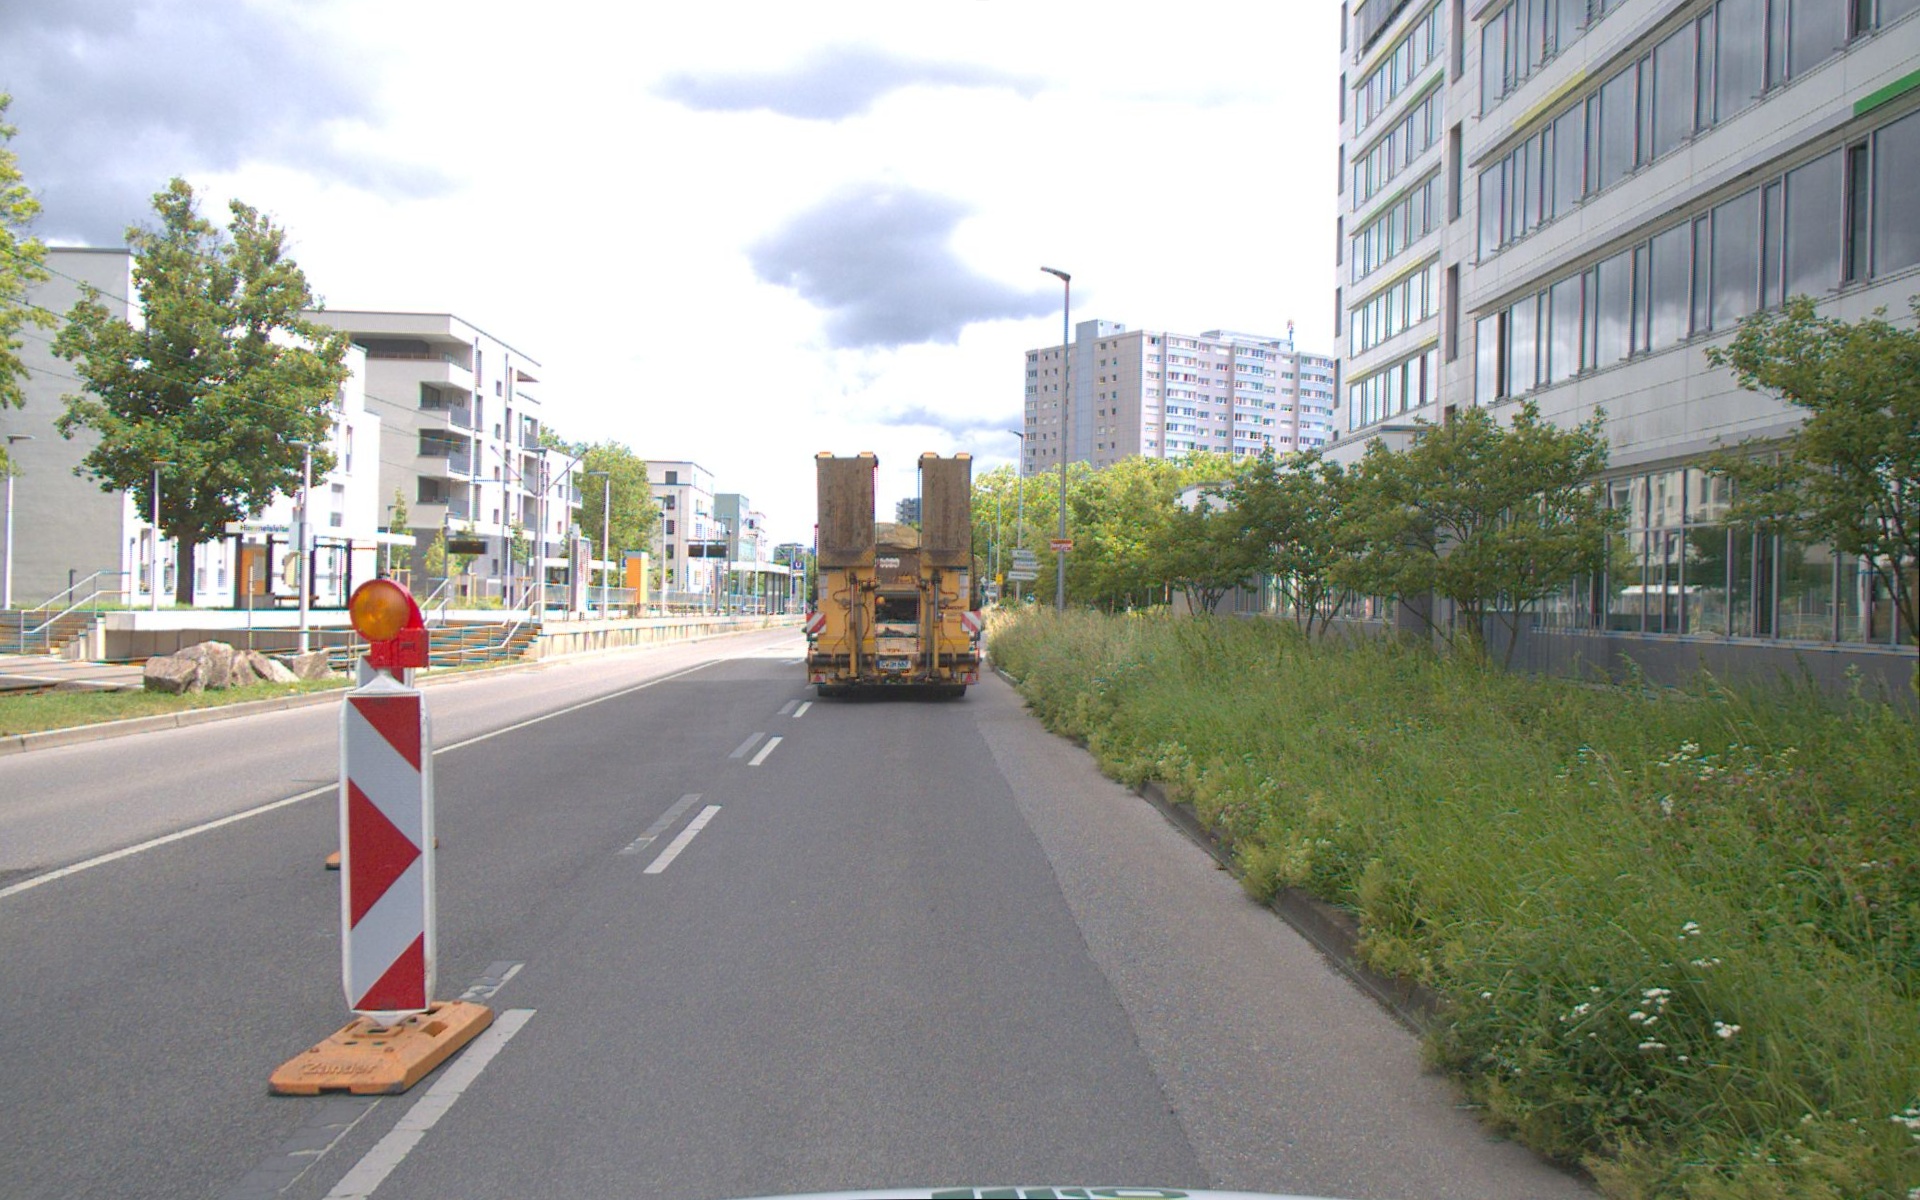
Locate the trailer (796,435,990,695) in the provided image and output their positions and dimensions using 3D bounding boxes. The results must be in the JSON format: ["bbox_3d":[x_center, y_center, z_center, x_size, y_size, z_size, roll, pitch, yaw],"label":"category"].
[{"bbox_3d":[-1.015,-0.471,28.929,2.673,3.621,11.251,1,0,-1],"label":"trailer"}]

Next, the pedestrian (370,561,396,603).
[{"bbox_3d":[-21.487,-0.668,61.563,0.726,1.558,0.547,1,-1,2],"label":"pedestrian"}]

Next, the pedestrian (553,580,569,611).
[{"bbox_3d":[-21.211,-0.241,87.965,0.480,1.624,0.673,0,-1,42],"label":"pedestrian"}]

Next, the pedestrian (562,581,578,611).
[{"bbox_3d":[-21.004,-0.214,89.144,0.479,1.624,0.675,1,-1,34],"label":"pedestrian"}]

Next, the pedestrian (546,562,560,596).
[{"bbox_3d":[-21.531,-1.103,87.491,0.483,1.755,0.669,1,-1,-35],"label":"pedestrian"}]

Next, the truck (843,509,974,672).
[{"bbox_3d":[-1.141,-0.186,38.752,2.697,3.371,8.350,1,0,-1],"label":"truck"}]
